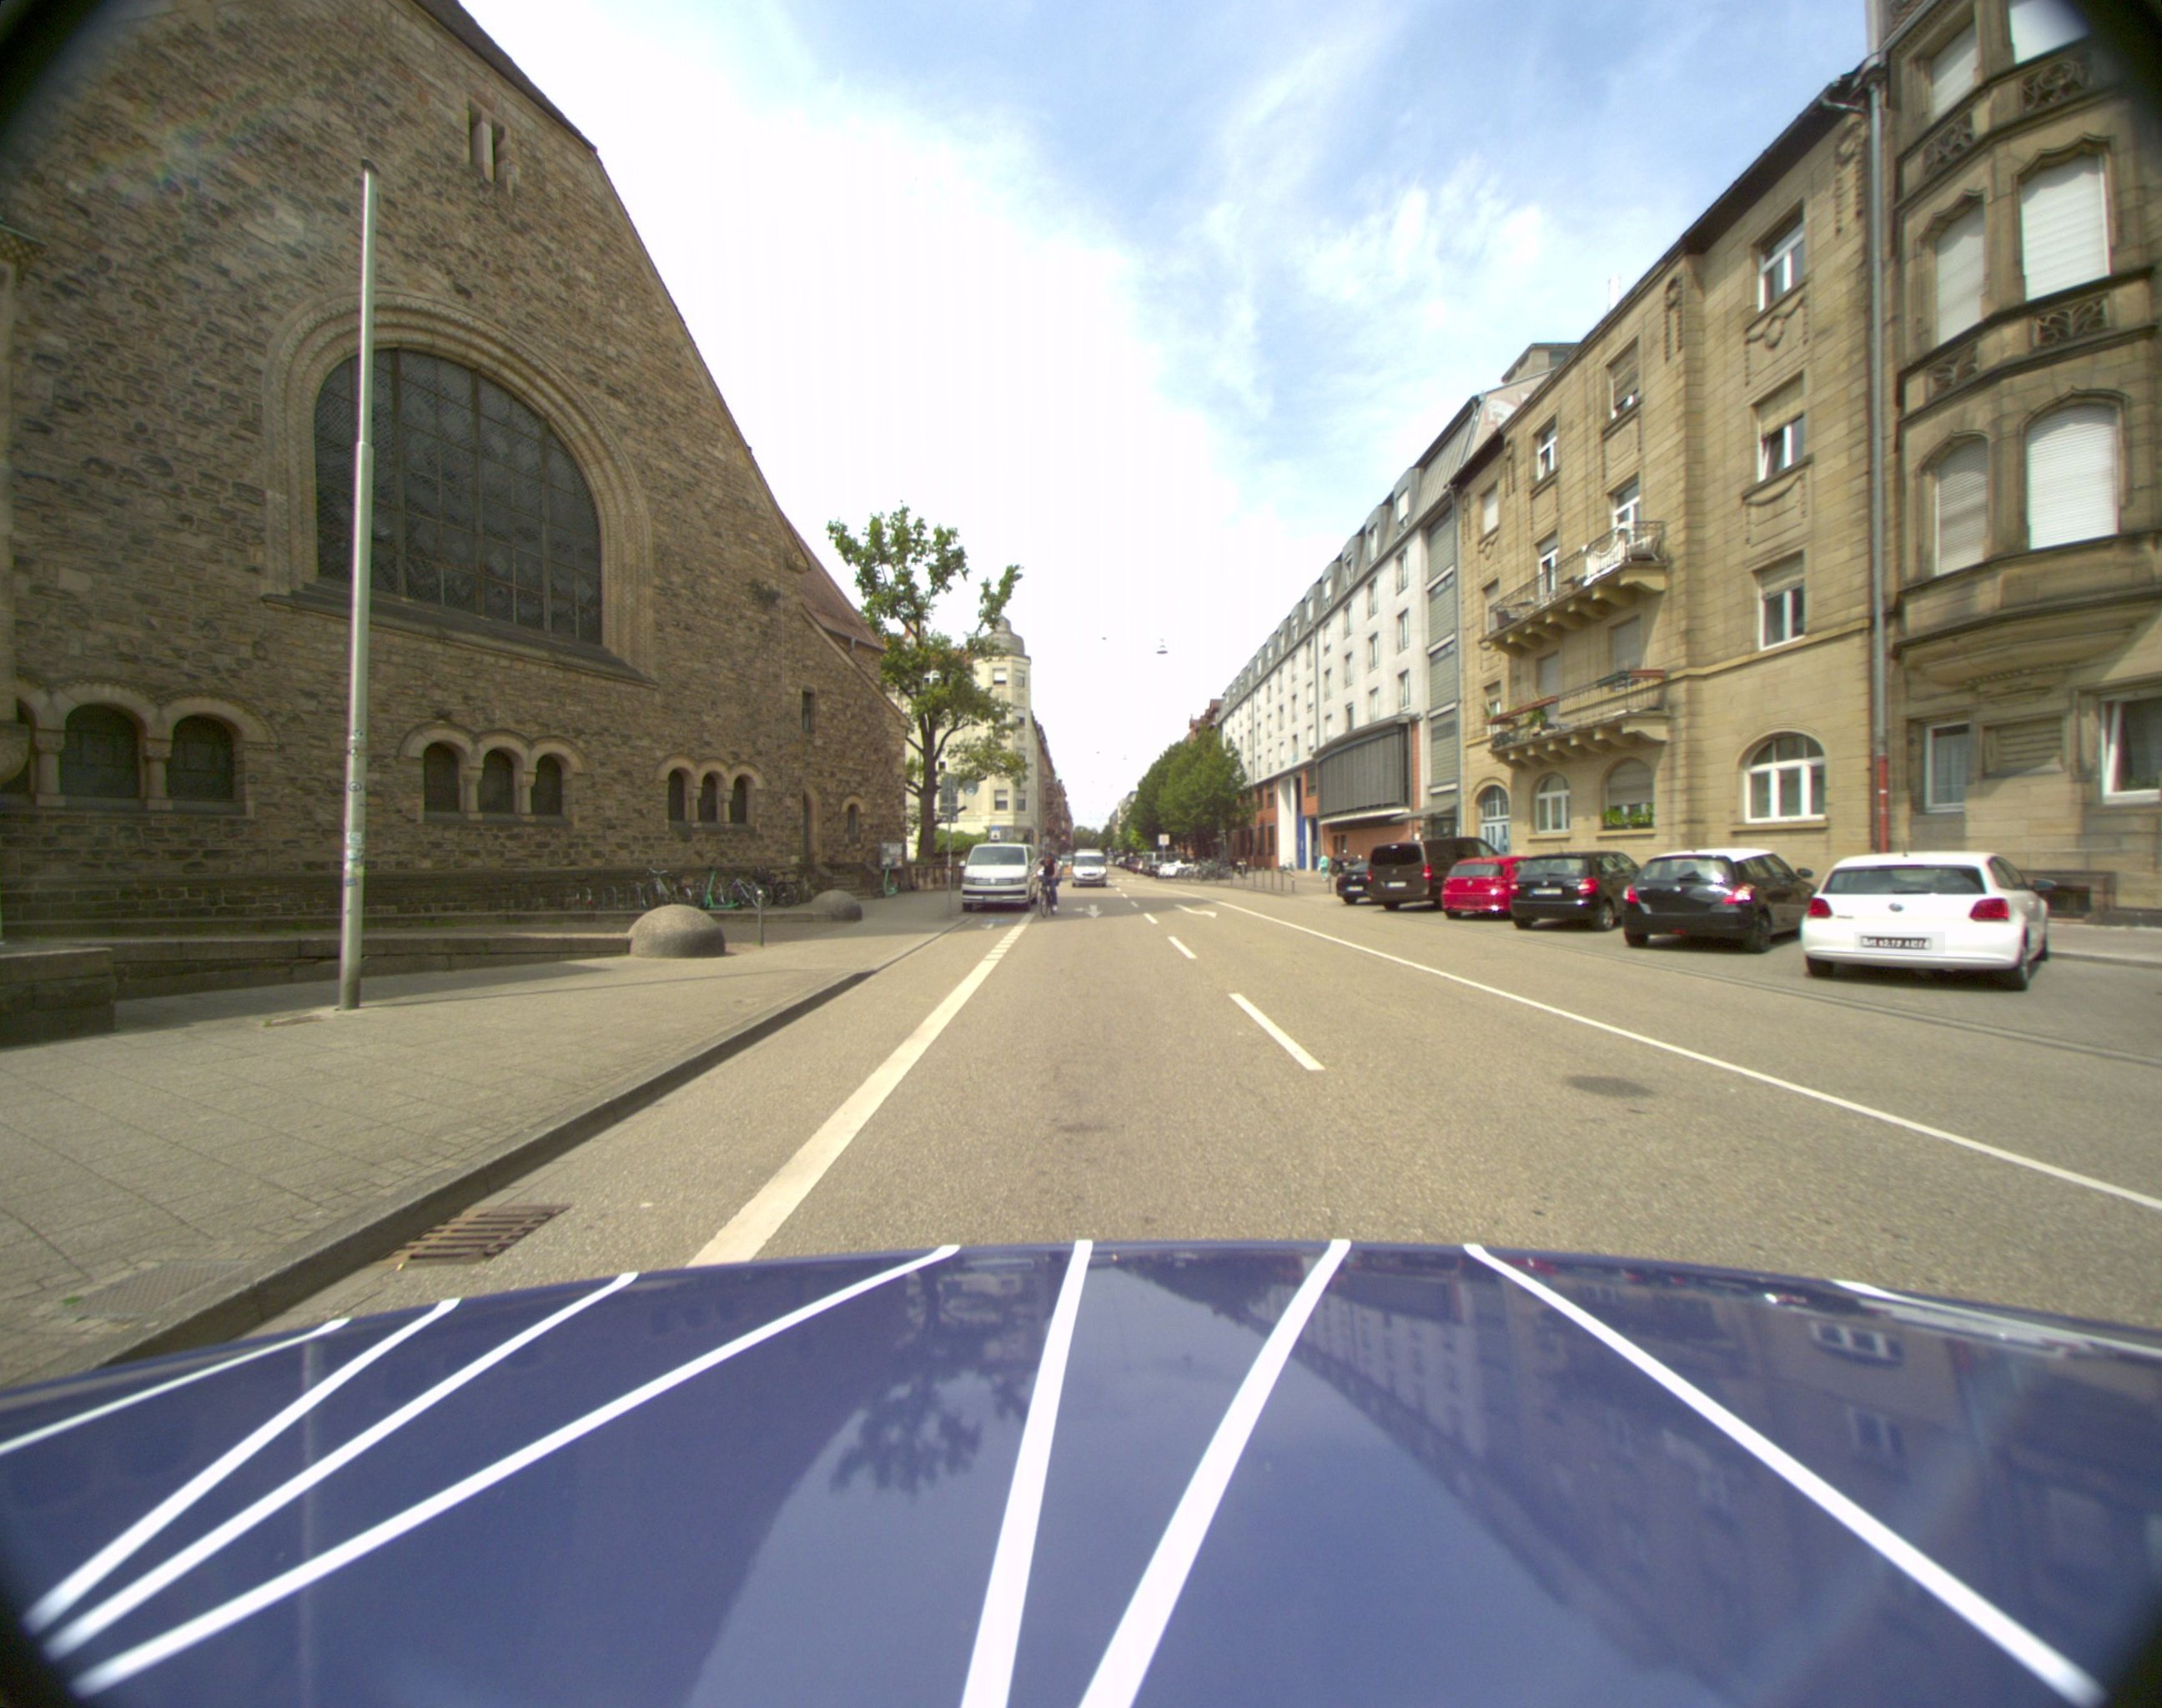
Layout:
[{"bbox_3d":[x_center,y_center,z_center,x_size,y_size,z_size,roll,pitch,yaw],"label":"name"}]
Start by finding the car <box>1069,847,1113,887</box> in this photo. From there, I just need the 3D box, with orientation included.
[{"bbox_3d":[0.571,0.657,39.163,1.942,1.913,4.008,-1,-1,5],"label":"car"}]

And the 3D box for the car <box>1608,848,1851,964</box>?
[{"bbox_3d":[10.462,0.708,12.205,4.019,1.555,1.792,-1,0,-31],"label":"car"}]

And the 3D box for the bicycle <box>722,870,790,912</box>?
[{"bbox_3d":[-8.869,0.999,20.732,1.778,1.105,0.547,0,0,19],"label":"bicycle"}]

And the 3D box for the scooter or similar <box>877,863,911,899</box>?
[{"bbox_3d":[-6.528,0.932,26.636,0.545,1.200,1.444,0,0,14],"label":"scooter or similar"}]

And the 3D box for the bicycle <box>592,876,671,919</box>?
[{"bbox_3d":[-10.451,0.999,17.659,1.778,0.951,0.547,0,0,19],"label":"bicycle"}]

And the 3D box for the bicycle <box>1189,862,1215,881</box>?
[{"bbox_3d":[7.129,1.009,44.759,1.409,1.032,0.402,-3,0,3],"label":"bicycle"}]

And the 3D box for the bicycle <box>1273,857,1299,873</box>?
[{"bbox_3d":[14.285,0.758,53.083,1.613,0.920,0.932,-6,-1,13],"label":"bicycle"}]

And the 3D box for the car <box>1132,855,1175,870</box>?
[{"bbox_3d":[7.144,0.827,74.989,4.012,1.445,1.687,-1,-1,-33],"label":"car"}]

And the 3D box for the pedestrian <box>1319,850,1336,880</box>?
[{"bbox_3d":[12.173,0.542,37.560,0.662,1.477,0.509,-1,1,-1],"label":"pedestrian"}]

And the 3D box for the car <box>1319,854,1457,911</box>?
[{"bbox_3d":[9.789,0.849,24.098,4.679,1.401,1.895,-4,0,-38],"label":"car"}]

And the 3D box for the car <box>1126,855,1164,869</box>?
[{"bbox_3d":[7.273,0.881,85.781,4.012,1.558,1.687,-1,-1,-33],"label":"car"}]

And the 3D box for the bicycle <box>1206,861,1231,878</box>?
[{"bbox_3d":[8.467,0.948,46.799,1.409,1.020,0.402,-2,0,3],"label":"bicycle"}]

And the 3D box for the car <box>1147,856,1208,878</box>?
[{"bbox_3d":[7.115,0.919,55.652,4.324,1.460,1.713,-1,0,-33],"label":"car"}]

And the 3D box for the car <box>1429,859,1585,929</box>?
[{"bbox_3d":[10.136,0.858,17.972,4.020,1.401,1.792,-1,0,-38],"label":"car"}]

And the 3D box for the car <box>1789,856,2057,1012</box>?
[{"bbox_3d":[10.230,0.790,9.178,3.692,1.473,1.737,-1,0,-35],"label":"car"}]

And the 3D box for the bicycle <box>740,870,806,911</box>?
[{"bbox_3d":[-8.638,0.998,21.306,1.771,1.105,0.547,0,0,19],"label":"bicycle"}]

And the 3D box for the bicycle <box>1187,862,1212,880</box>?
[{"bbox_3d":[7.099,1.011,45.652,1.409,1.032,0.402,-3,0,3],"label":"bicycle"}]

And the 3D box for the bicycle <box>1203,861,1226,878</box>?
[{"bbox_3d":[8.459,0.959,48.102,1.409,1.020,0.402,-2,0,3],"label":"bicycle"}]

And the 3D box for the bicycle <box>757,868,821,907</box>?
[{"bbox_3d":[-8.432,0.954,21.923,1.778,1.105,0.547,0,0,19],"label":"bicycle"}]

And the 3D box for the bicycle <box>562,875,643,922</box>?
[{"bbox_3d":[-10.733,0.980,17.042,1.778,0.952,0.547,2,1,19],"label":"bicycle"}]

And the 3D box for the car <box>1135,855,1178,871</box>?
[{"bbox_3d":[7.234,0.859,72.776,4.012,1.381,1.592,-1,-1,-33],"label":"car"}]

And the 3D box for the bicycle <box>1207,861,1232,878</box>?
[{"bbox_3d":[8.439,0.948,46.263,1.409,1.020,0.402,-2,0,3],"label":"bicycle"}]

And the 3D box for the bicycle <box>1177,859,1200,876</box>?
[{"bbox_3d":[7.020,0.870,49.569,1.409,1.020,0.402,-3,0,3],"label":"bicycle"}]

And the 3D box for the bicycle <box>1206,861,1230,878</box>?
[{"bbox_3d":[8.538,0.941,47.284,1.409,1.020,0.402,-2,0,3],"label":"bicycle"}]

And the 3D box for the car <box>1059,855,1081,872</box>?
[{"bbox_3d":[-1.120,0.963,77.458,1.853,1.661,4.008,-1,-1,5],"label":"car"}]

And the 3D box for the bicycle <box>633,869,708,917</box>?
[{"bbox_3d":[-10.003,0.937,18.507,1.778,1.105,0.547,0,0,19],"label":"bicycle"}]

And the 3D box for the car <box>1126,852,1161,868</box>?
[{"bbox_3d":[7.595,0.768,92.105,4.052,1.846,1.687,-1,0,-33],"label":"car"}]

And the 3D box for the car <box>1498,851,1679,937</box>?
[{"bbox_3d":[10.251,0.711,15.260,4.004,1.494,1.627,-1,0,-34],"label":"car"}]

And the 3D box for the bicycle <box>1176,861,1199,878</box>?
[{"bbox_3d":[7.041,1.006,50.378,1.409,1.020,0.402,-3,0,3],"label":"bicycle"}]

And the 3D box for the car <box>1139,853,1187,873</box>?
[{"bbox_3d":[7.269,0.786,67.259,4.012,1.605,1.708,-1,-1,-33],"label":"car"}]

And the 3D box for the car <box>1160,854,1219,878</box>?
[{"bbox_3d":[7.651,0.819,53.421,4.013,1.536,1.598,-1,0,-33],"label":"car"}]

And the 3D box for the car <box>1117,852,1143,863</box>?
[{"bbox_3d":[7.932,0.534,123.339,4.012,1.746,1.687,-1,0,-33],"label":"car"}]

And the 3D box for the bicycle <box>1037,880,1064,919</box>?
[{"bbox_3d":[-0.778,1.168,19.835,0.586,0.927,1.783,-1,-1,1],"label":"bicycle"}]

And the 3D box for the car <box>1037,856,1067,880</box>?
[{"bbox_3d":[-1.827,0.849,48.436,1.759,1.460,4.418,0,0,0],"label":"car"}]

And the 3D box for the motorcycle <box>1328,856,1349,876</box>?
[{"bbox_3d":[14.279,0.672,42.191,0.585,1.042,1.657,-2,0,-1],"label":"motorcycle"}]

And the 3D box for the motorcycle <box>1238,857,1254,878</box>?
[{"bbox_3d":[9.851,0.793,45.511,0.585,1.166,1.780,-2,0,2],"label":"motorcycle"}]

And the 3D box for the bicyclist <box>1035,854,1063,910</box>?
[{"bbox_3d":[-0.825,0.714,19.839,0.649,1.408,1.094,-1,0,2],"label":"bicyclist"}]

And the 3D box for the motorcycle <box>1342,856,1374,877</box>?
[{"bbox_3d":[14.447,0.668,39.666,0.585,1.042,1.965,-2,0,-10],"label":"motorcycle"}]

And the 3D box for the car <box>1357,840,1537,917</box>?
[{"bbox_3d":[10.272,0.599,21.170,5.280,1.899,2.116,-1,0,-34],"label":"car"}]

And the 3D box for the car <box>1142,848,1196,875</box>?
[{"bbox_3d":[7.156,0.591,61.678,4.011,1.986,1.857,-3,1,-30],"label":"car"}]

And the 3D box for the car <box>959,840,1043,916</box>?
[{"bbox_3d":[-2.267,0.647,22.878,2.019,2.017,5.123,0,0,-1],"label":"car"}]

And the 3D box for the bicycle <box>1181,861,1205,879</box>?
[{"bbox_3d":[7.001,1.009,47.655,1.409,1.032,0.402,-3,0,3],"label":"bicycle"}]

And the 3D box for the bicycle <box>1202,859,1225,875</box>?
[{"bbox_3d":[8.460,0.841,48.587,1.409,1.020,0.402,-2,0,3],"label":"bicycle"}]

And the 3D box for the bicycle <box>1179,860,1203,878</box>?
[{"bbox_3d":[7.000,0.954,48.297,1.409,1.020,0.402,-3,0,3],"label":"bicycle"}]

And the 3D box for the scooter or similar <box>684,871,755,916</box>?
[{"bbox_3d":[-9.354,1.005,19.632,1.778,1.133,0.547,0,0,19],"label":"scooter or similar"}]

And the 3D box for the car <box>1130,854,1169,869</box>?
[{"bbox_3d":[7.491,0.847,83.226,4.012,1.558,1.687,-1,-1,-33],"label":"car"}]

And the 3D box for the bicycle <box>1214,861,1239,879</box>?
[{"bbox_3d":[8.633,0.947,45.017,1.409,1.020,0.402,-2,0,3],"label":"bicycle"}]
